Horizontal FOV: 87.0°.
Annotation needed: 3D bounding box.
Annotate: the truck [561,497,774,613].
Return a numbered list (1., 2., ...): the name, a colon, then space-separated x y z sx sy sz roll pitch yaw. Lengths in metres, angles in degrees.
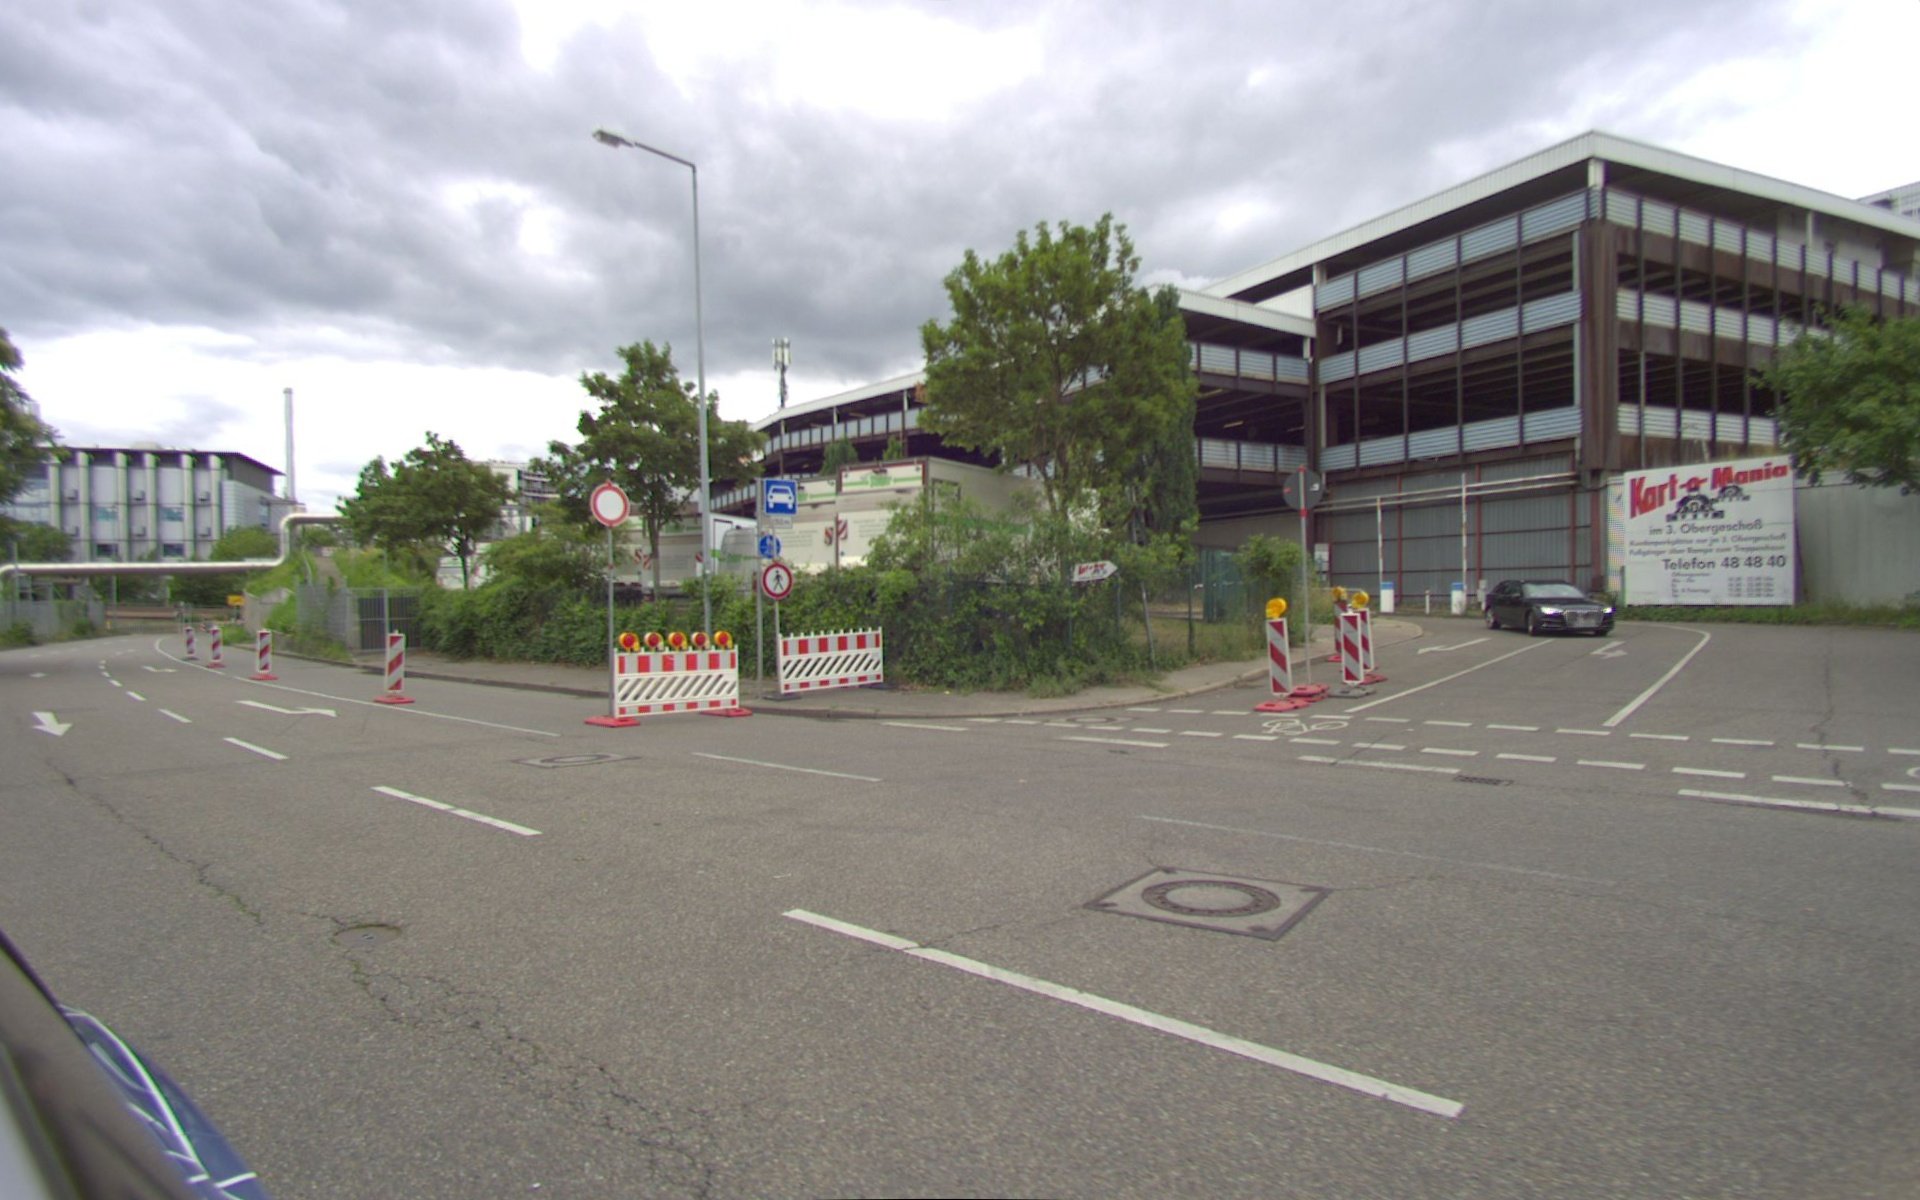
1. truck: -9.865 -1.458 35.262 3.031 3.564 7.810 0 1 22

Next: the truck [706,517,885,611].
1. truck: -4.568 -0.967 28.584 2.196 2.423 4.637 0 1 43

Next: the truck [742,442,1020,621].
1. truck: -1.778 -1.600 26.809 3.046 4.021 7.771 0 1 36

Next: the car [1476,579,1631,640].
1. car: 15.481 0.193 26.680 1.779 1.419 4.381 -1 1 5

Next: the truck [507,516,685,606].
1. truck: -15.531 -1.613 43.966 3.029 3.564 7.815 0 1 20

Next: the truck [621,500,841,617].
1. truck: -7.035 -1.245 32.559 3.031 3.274 7.810 0 1 22

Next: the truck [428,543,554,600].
1. truck: -30.954 -1.843 67.199 3.029 3.564 7.815 0 1 20

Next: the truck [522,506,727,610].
1. truck: -12.627 -1.526 39.014 3.035 3.564 7.801 1 1 25

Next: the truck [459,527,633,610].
1. truck: -19.317 -1.451 47.916 3.029 3.564 8.102 0 1 20

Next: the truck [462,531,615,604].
1. truck: -22.043 -1.677 53.486 3.029 3.564 7.815 0 1 20

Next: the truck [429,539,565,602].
1. truck: -28.157 -1.777 62.053 3.029 3.564 7.815 0 1 20

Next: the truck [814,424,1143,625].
1. truck: 0.920 -1.588 24.982 3.048 4.021 9.530 0 1 38
